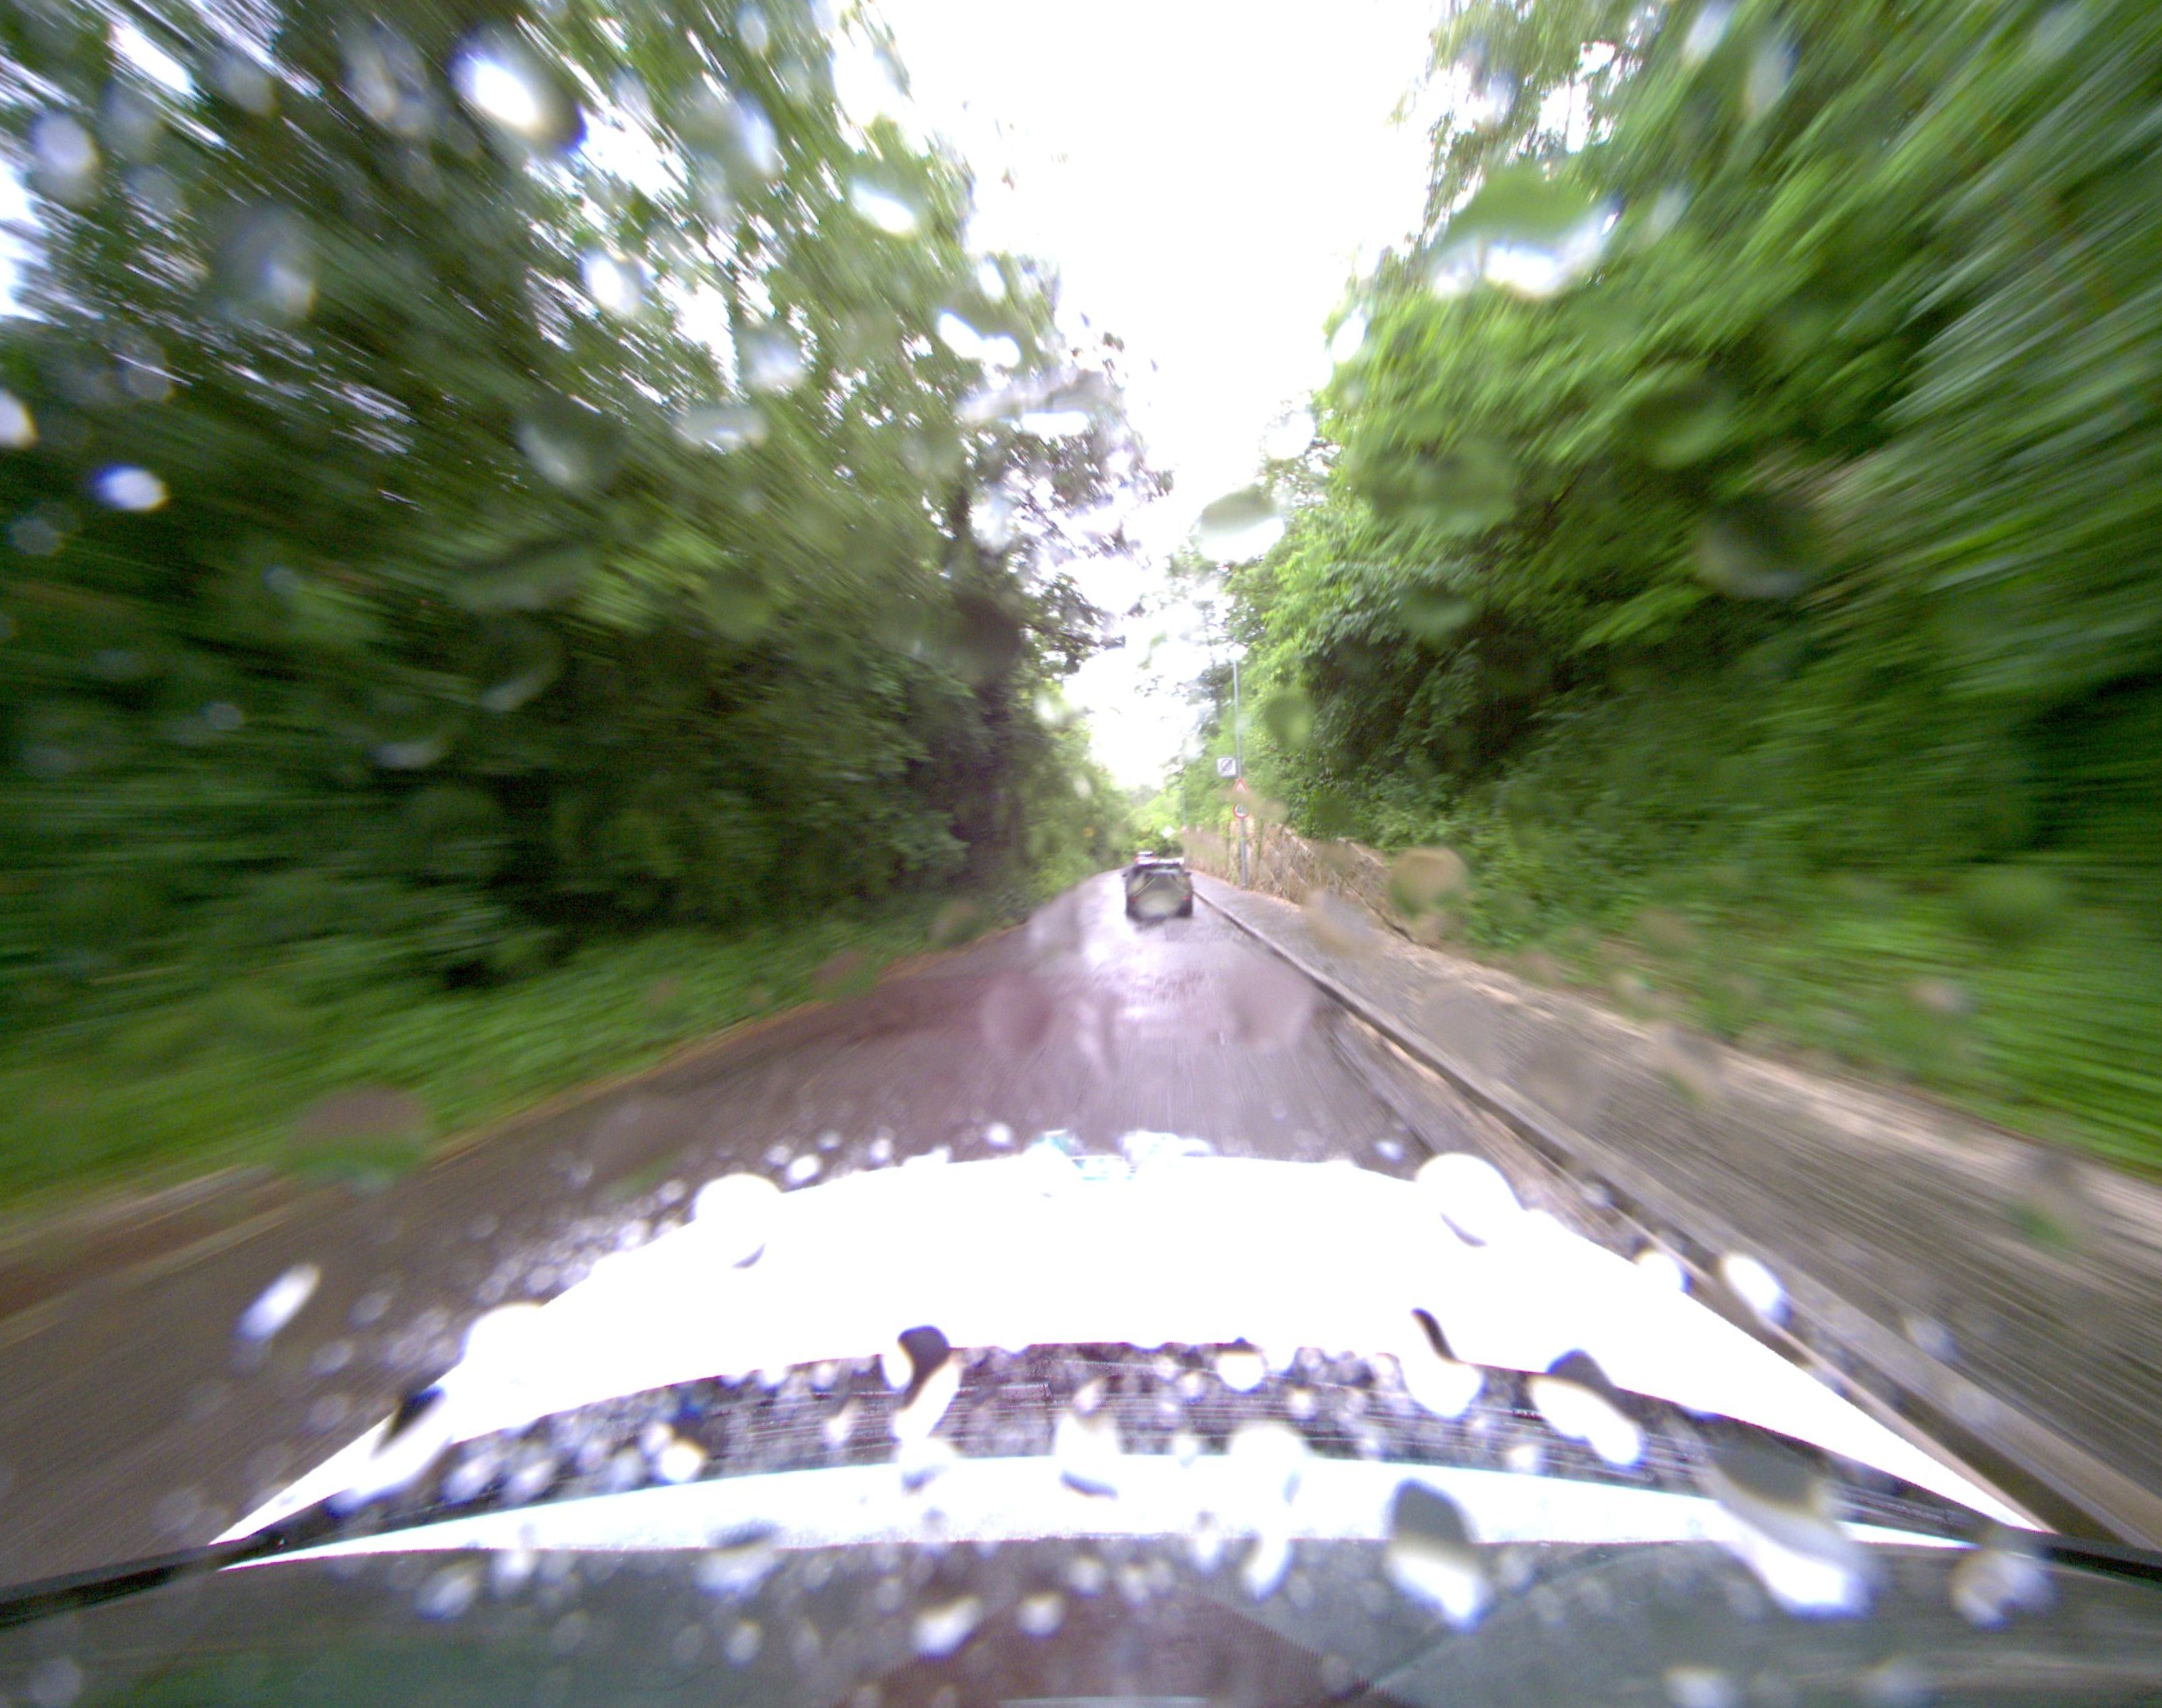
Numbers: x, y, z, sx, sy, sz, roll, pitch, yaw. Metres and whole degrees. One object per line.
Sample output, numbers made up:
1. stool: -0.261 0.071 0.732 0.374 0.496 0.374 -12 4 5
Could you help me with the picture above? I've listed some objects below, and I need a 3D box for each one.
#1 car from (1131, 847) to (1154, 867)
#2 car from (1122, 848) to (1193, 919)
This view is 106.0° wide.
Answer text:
1. car: 5.334 0.251 71.013 1.855 1.743 4.004 -1 0 3
2. car: 2.009 0.718 22.277 1.693 1.449 4.004 -3 4 3
